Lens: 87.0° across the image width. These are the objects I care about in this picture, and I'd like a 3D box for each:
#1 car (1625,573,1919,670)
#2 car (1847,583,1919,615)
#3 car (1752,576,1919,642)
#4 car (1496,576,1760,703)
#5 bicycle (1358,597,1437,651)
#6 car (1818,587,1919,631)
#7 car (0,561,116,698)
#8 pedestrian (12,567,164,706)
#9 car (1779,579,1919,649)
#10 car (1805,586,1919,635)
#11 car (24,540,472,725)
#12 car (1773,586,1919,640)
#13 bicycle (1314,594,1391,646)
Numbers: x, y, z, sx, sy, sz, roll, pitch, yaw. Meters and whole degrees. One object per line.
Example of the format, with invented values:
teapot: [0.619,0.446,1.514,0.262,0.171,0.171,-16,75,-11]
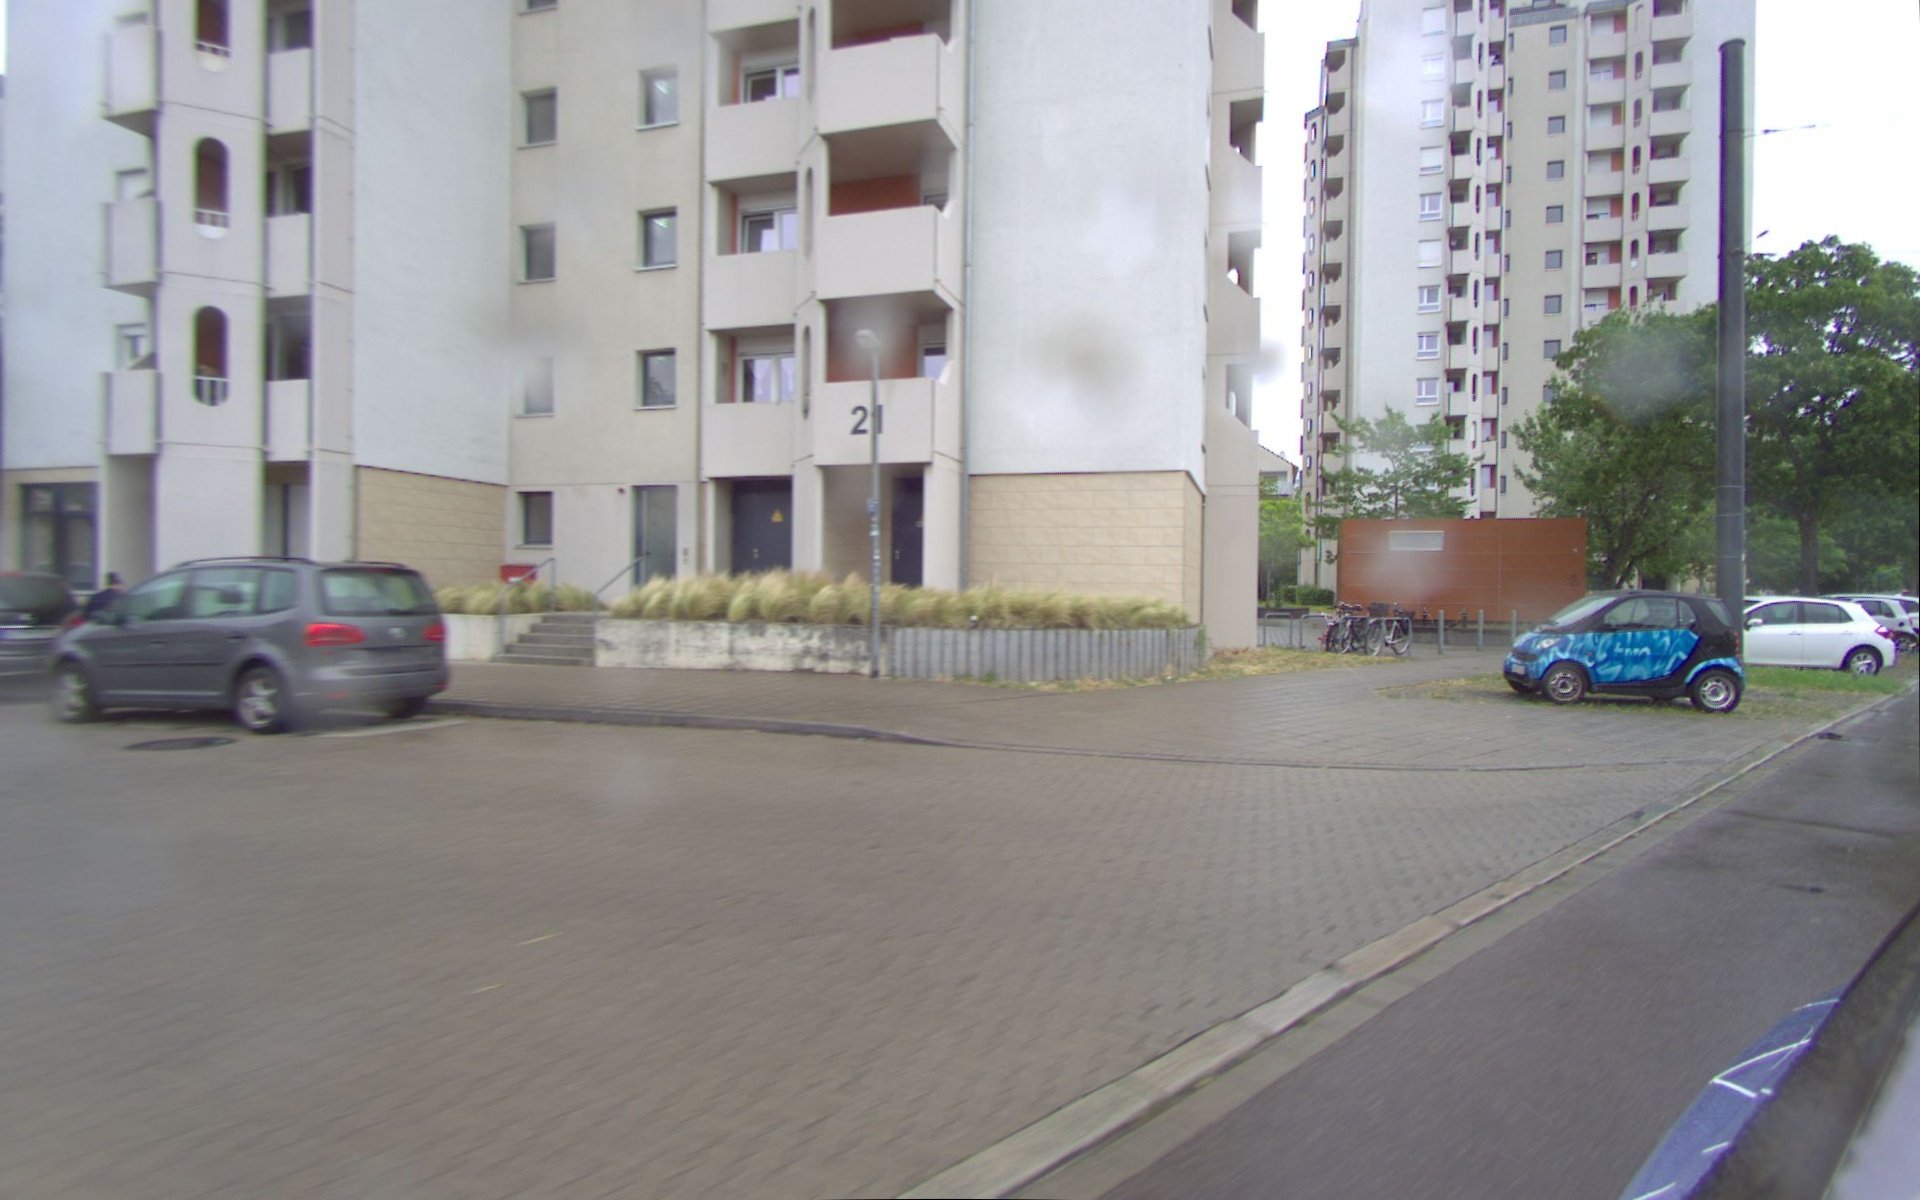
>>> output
car: [15.837,0.369,19.931,4.117,1.567,1.761,4,2,9]
car: [49.004,-0.014,52.572,3.986,1.507,1.718,3,1,13]
car: [26.420,0.264,29.846,4.389,1.692,1.808,4,2,10]
car: [8.991,0.476,13.821,2.523,1.567,1.599,1,1,9]
bicycle: [8.886,0.456,20.512,2.023,1.018,0.662,-1,1,-41]
car: [35.656,0.381,38.288,4.397,1.483,1.812,4,2,14]
car: [-12.686,0.345,12.381,4.060,1.553,1.803,0,-1,19]
pedestrian: [-10.231,0.397,11.904,0.827,1.536,1.088,0,0,20]
car: [25.279,0.404,27.630,4.122,1.692,1.679,4,2,12]
car: [31.531,0.404,34.021,4.398,1.445,1.677,4,2,15]
car: [-7.361,0.302,10.524,4.060,1.637,1.803,0,-1,19]
car: [28.782,0.428,31.946,4.396,1.427,1.761,4,2,14]
bicycle: [8.254,0.392,21.232,2.023,1.018,0.662,-1,1,-41]
